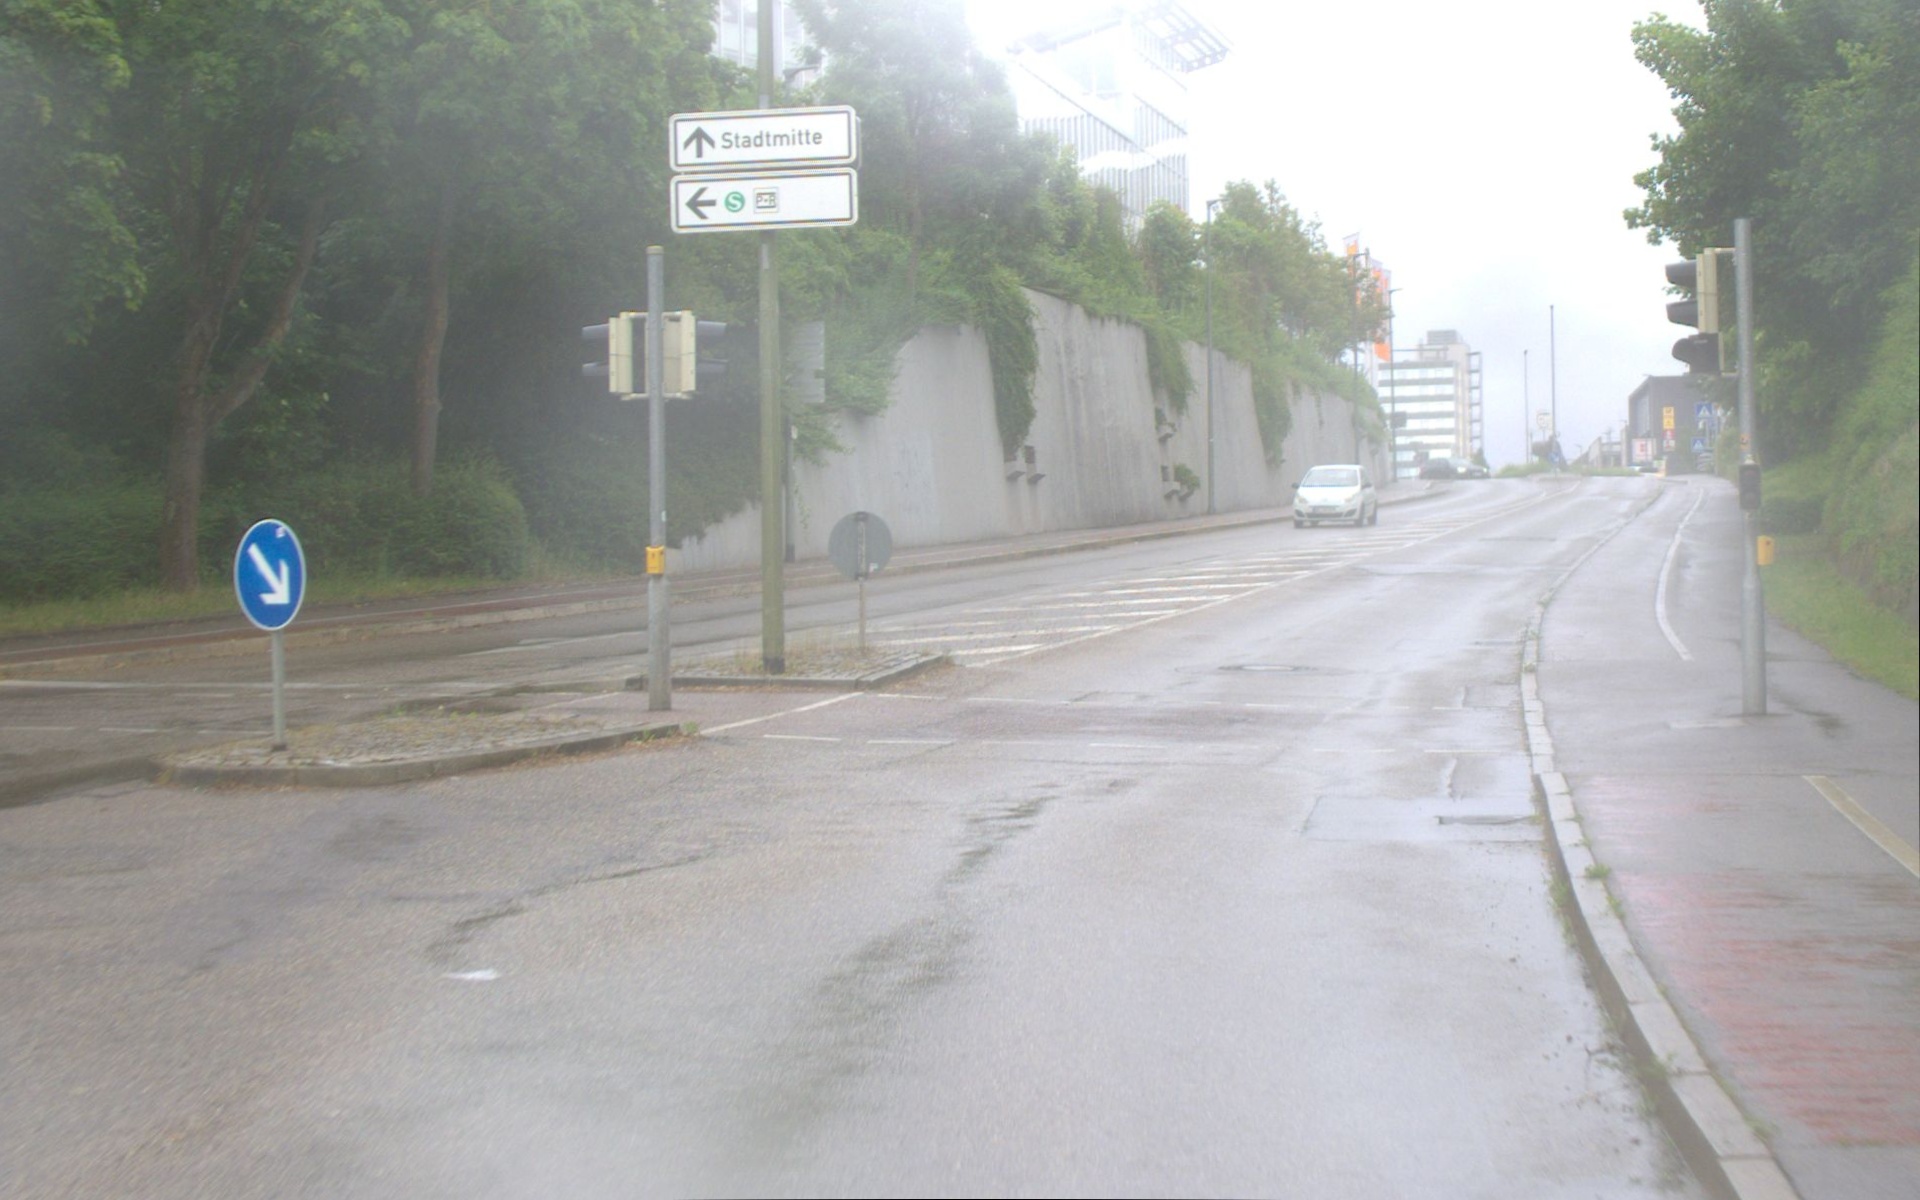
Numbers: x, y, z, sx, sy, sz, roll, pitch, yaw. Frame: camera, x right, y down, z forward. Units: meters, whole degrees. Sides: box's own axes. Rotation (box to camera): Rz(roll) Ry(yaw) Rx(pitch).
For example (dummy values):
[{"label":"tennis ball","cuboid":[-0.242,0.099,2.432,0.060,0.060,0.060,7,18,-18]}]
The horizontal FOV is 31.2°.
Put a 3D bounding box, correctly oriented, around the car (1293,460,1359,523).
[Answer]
[{"label":"car","cuboid":[8.740,-2.577,82.024,1.513,1.443,3.816,0,1,6]}]
